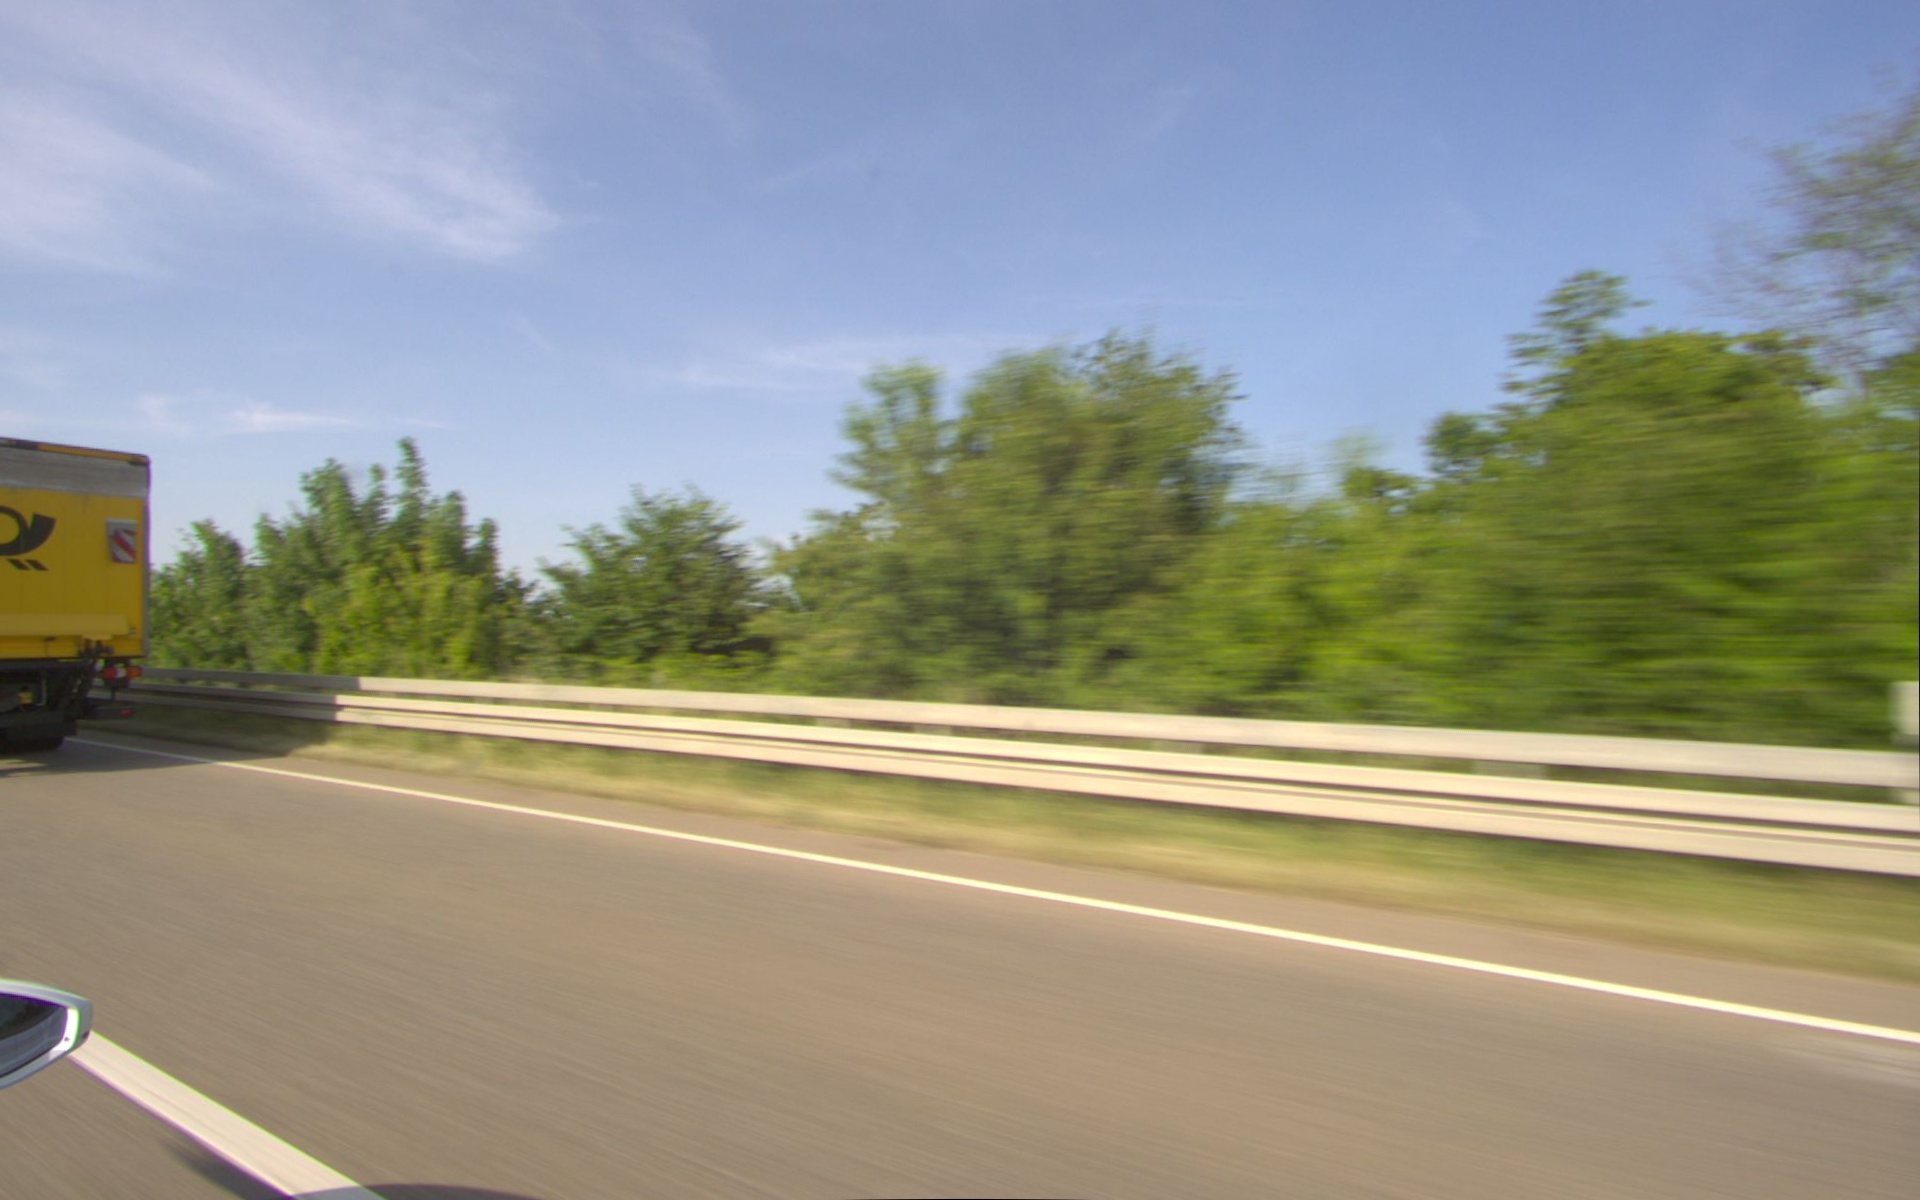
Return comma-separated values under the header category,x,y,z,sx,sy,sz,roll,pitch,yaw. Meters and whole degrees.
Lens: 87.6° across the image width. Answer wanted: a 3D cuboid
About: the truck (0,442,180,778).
category,x,y,z,sx,sy,sz,roll,pitch,yaw
truck,-13.890,0.145,12.932,10.341,3.359,2.774,0,-2,33
